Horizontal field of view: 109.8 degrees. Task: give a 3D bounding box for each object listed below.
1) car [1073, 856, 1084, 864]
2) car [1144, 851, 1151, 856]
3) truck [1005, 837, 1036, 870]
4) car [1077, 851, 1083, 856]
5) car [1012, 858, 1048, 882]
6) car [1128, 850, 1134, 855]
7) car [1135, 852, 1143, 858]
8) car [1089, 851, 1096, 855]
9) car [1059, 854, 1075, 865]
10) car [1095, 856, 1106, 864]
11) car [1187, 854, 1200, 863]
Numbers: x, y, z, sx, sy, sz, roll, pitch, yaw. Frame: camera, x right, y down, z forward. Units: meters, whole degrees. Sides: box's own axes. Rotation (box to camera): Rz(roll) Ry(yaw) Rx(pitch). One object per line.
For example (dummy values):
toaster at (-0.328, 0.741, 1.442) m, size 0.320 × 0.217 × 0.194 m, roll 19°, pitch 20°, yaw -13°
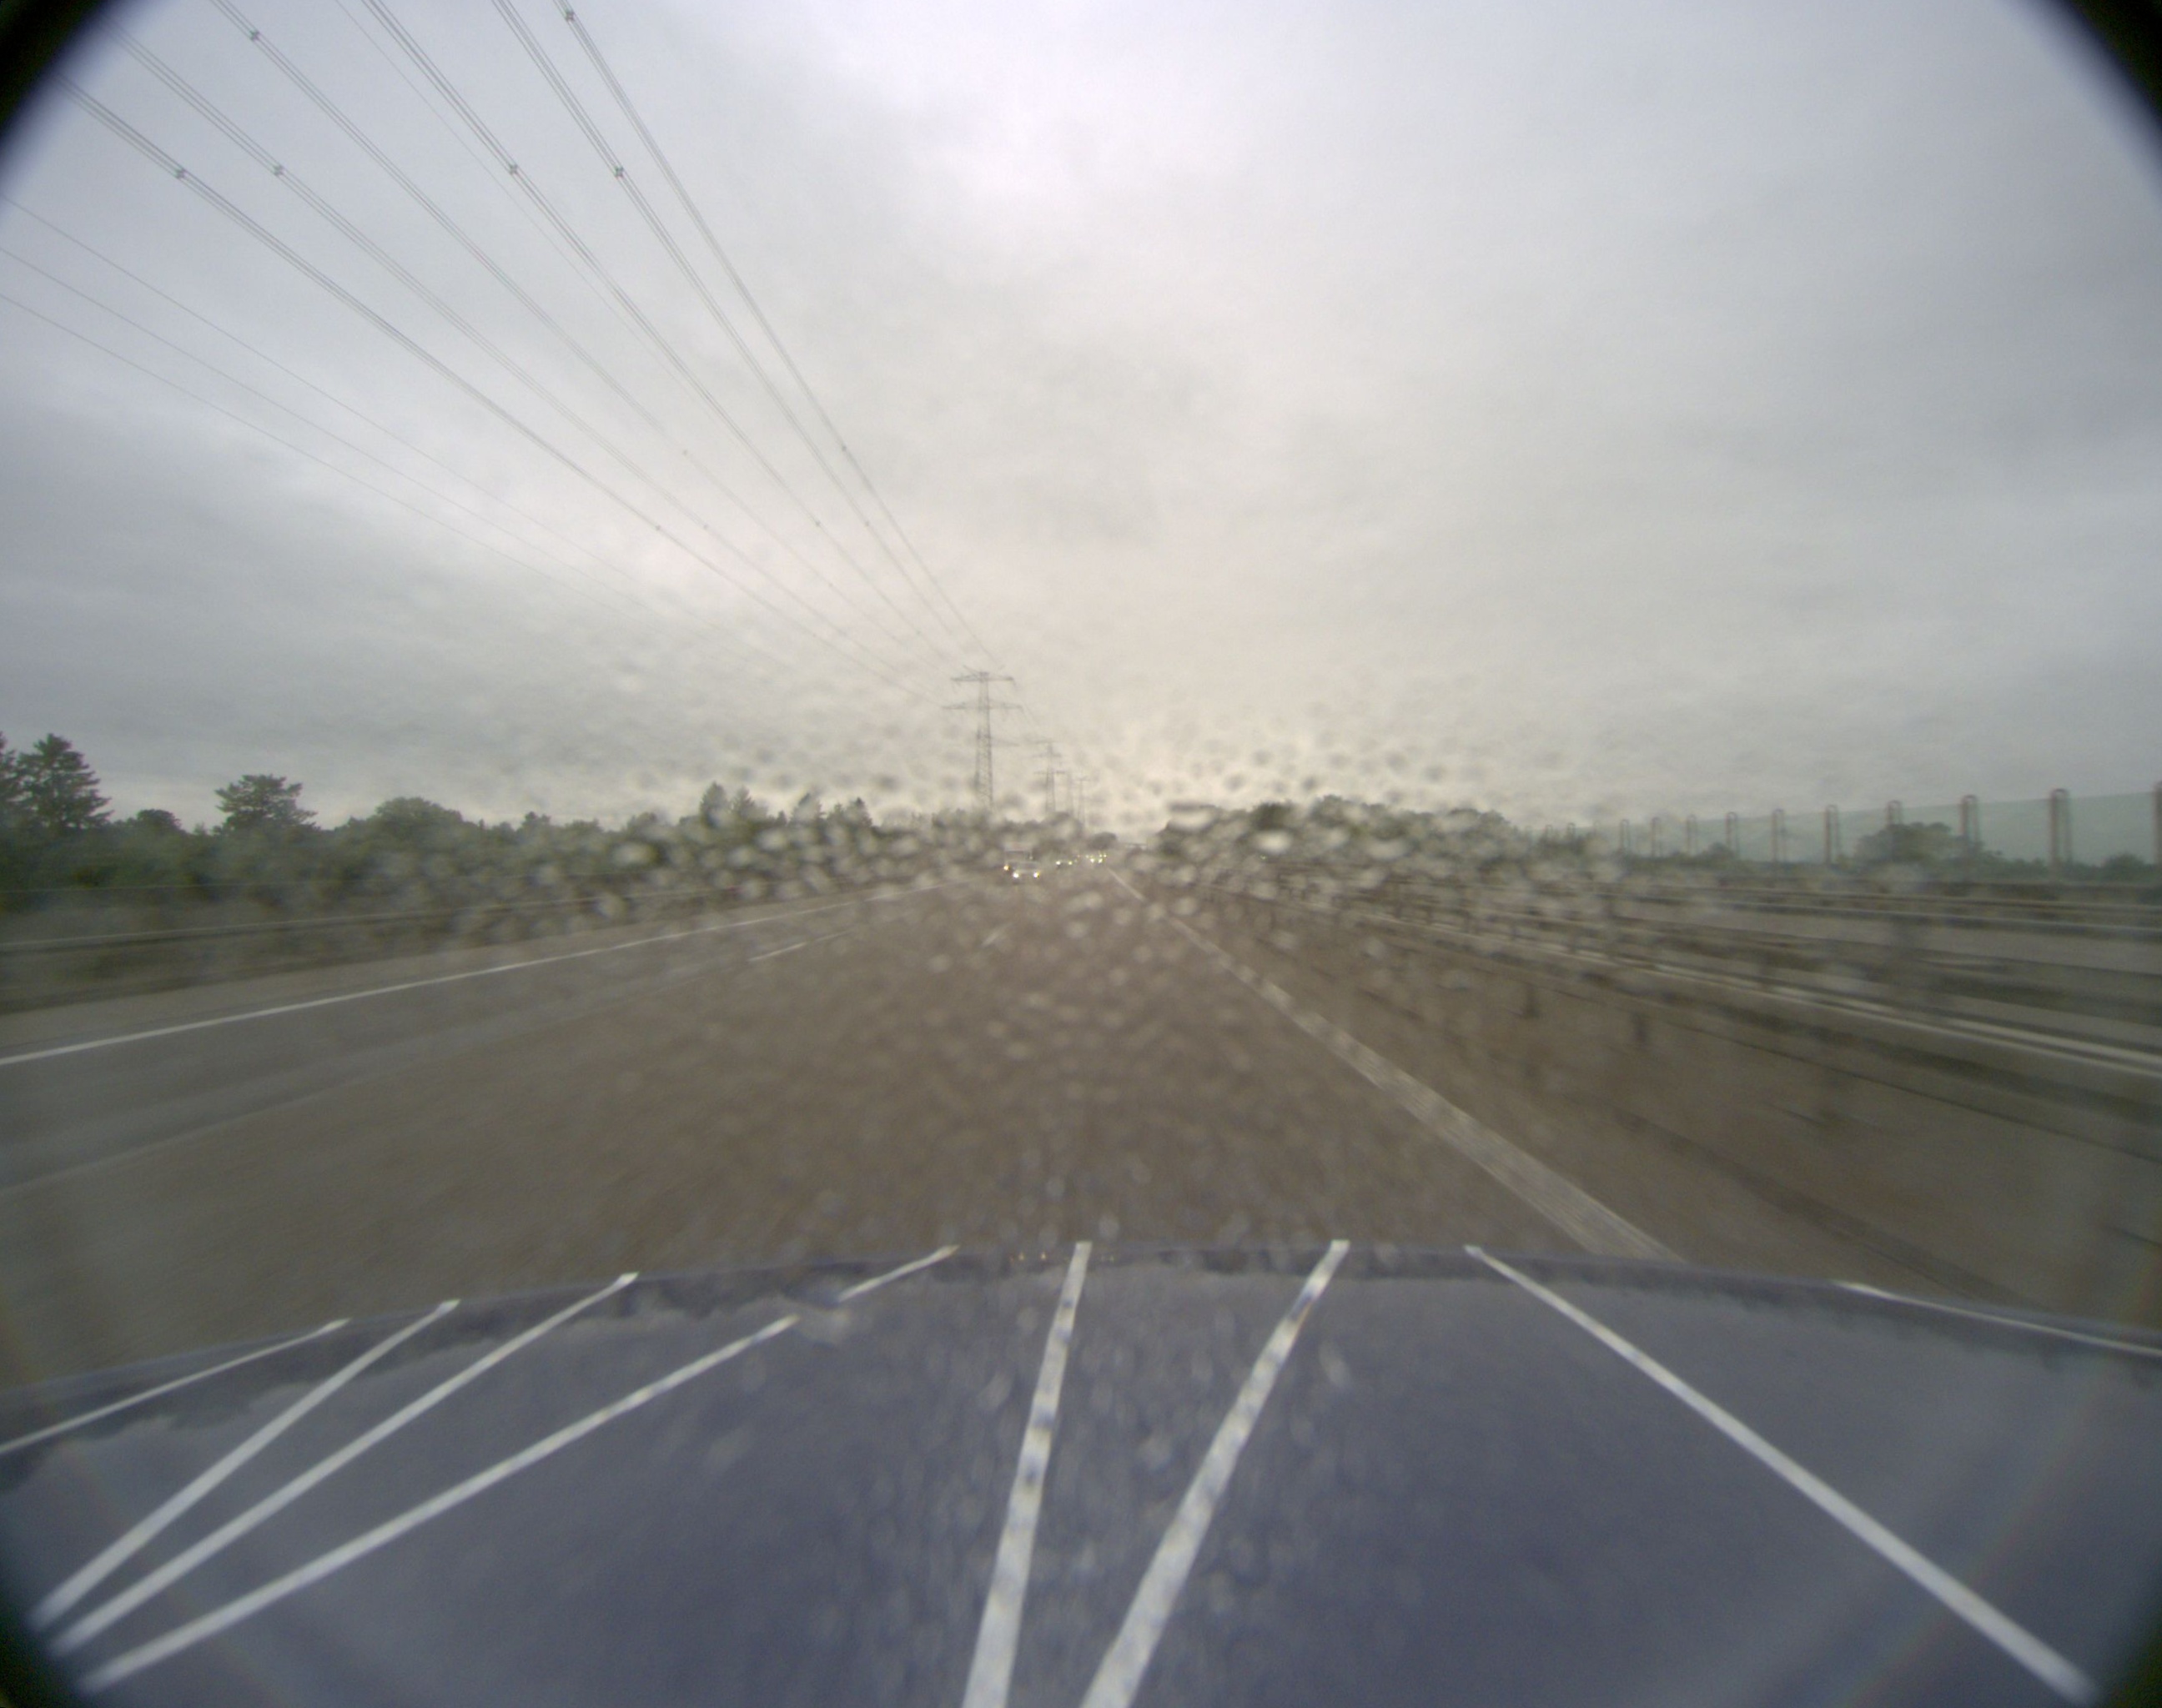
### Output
car at (-0.419, 1.079, 142.069) m, size 1.998 × 1.418 × 4.000 m, roll -2°, pitch 0°, yaw 1°
car at (19.410, -0.228, 222.192) m, size 1.688 × 1.528 × 3.860 m, roll -1°, pitch 0°, yaw 1°
truck at (-6.454, -0.098, 82.151) m, size 2.649 × 3.325 × 6.931 m, roll -2°, pitch 0°, yaw 1°
car at (-0.196, -0.287, 241.299) m, size 1.783 × 1.482 × 4.000 m, roll -2°, pitch 0°, yaw 1°
car at (-3.233, 0.990, 48.853) m, size 1.998 × 1.418 × 4.000 m, roll -2°, pitch 0°, yaw 1°
car at (16.506, -0.427, 249.098) m, size 1.688 × 1.528 × 3.860 m, roll -1°, pitch 0°, yaw 1°
car at (14.549, 0.307, 190.822) m, size 1.688 × 1.528 × 3.860 m, roll -1°, pitch 0°, yaw 1°
car at (3.721, -0.361, 241.857) m, size 1.998 × 1.418 × 4.000 m, roll -2°, pitch 0°, yaw 1°
car at (-1.811, 0.714, 102.967) m, size 1.998 × 1.418 × 4.000 m, roll -2°, pitch 0°, yaw 1°
car at (3.535, 1.043, 138.407) m, size 1.998 × 1.418 × 4.000 m, roll -2°, pitch 0°, yaw 1°
car at (19.771, 0.772, 133.637) m, size 1.688 × 1.488 × 3.860 m, roll -1°, pitch 0°, yaw 1°
